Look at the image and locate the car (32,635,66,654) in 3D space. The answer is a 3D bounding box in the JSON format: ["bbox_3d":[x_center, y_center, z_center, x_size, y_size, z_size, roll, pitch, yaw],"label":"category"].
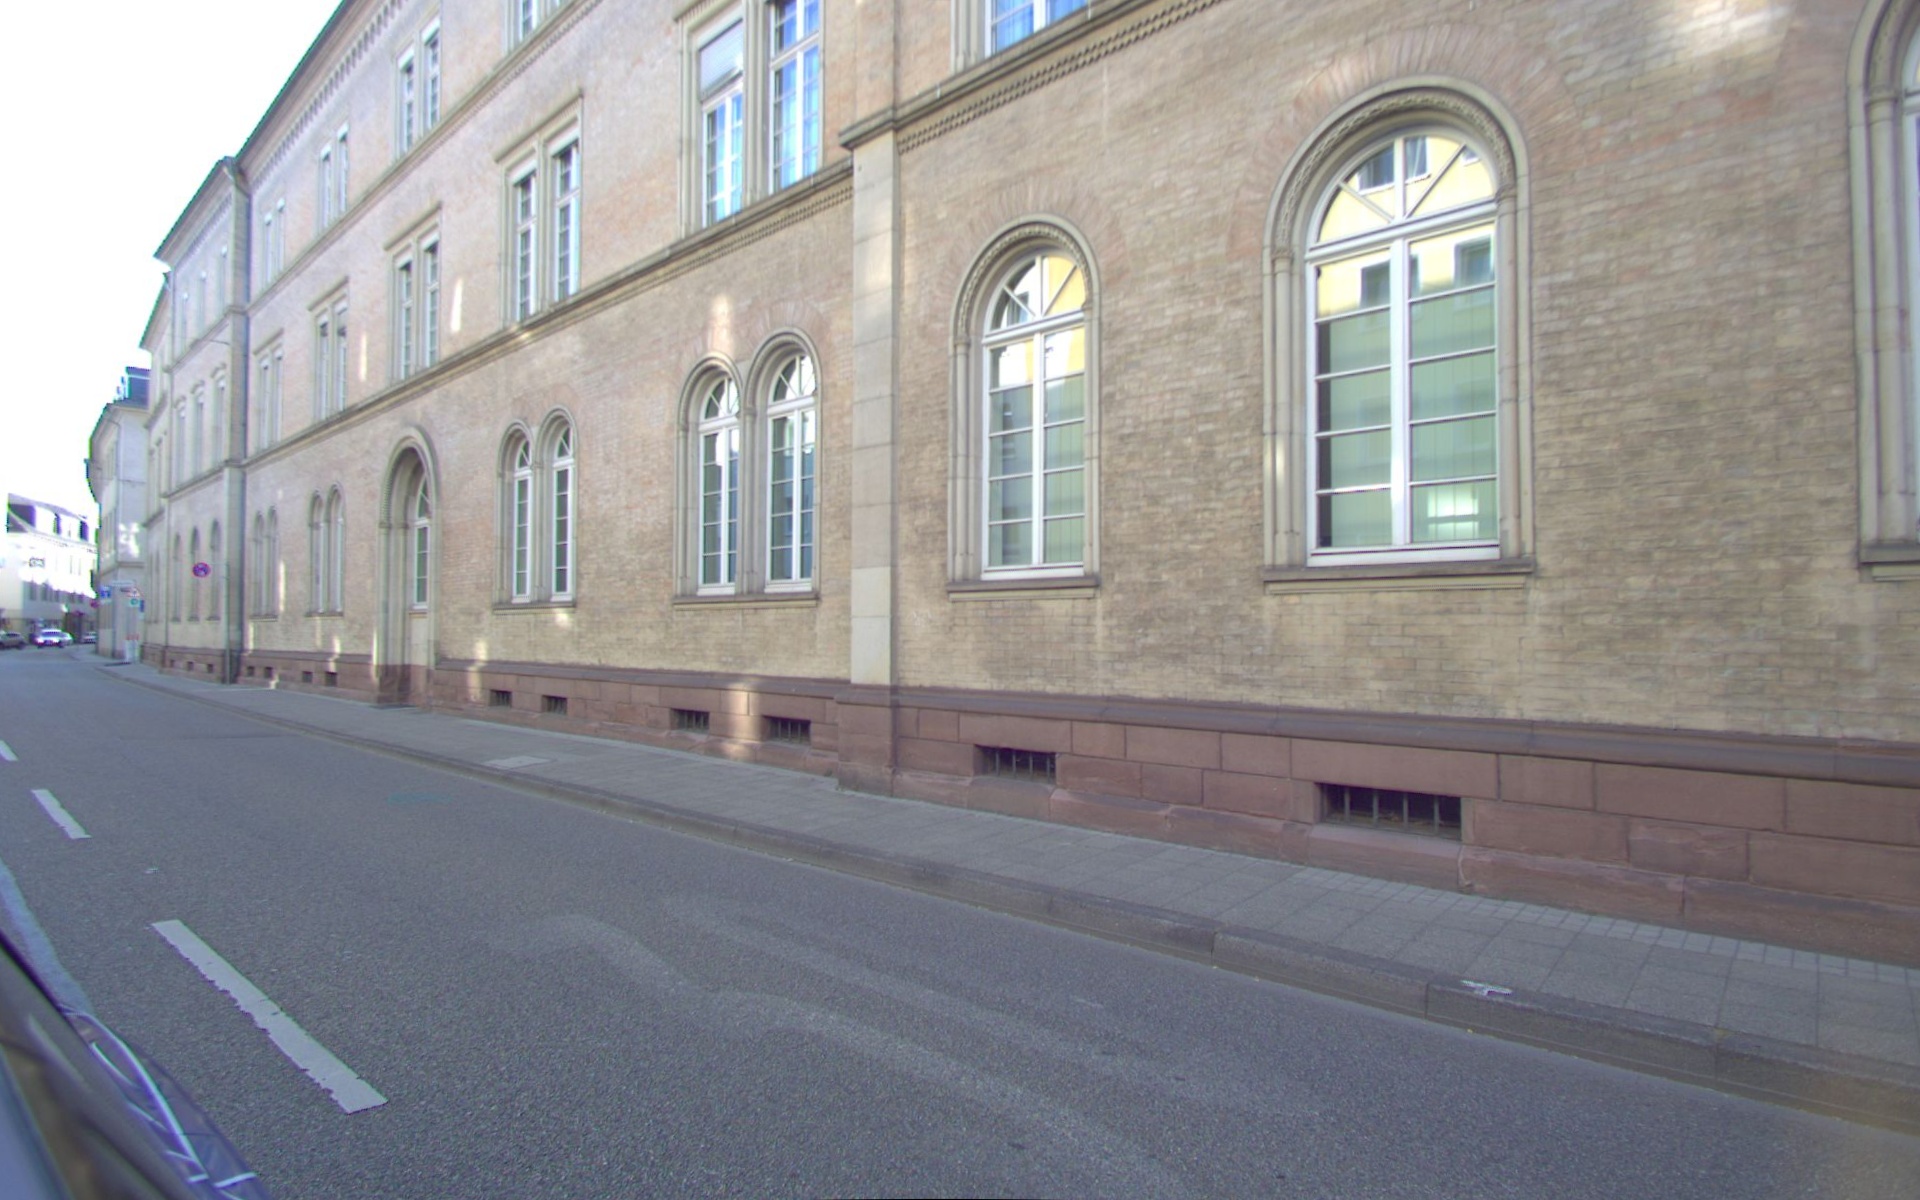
[{"bbox_3d":[-86.743,4.202,96.383,1.893,1.735,4.971,1,-2,-37],"label":"car"}]

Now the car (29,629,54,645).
[{"bbox_3d":[-102.392,4.100,112.883,1.511,1.737,3.749,1,-2,-34],"label":"car"}]

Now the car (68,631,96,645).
[{"bbox_3d":[-109.468,4.754,126.211,1.896,1.737,4.242,1,-2,-31],"label":"car"}]

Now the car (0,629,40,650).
[{"bbox_3d":[-80.944,3.363,86.211,1.837,1.737,3.740,0,-2,-2],"label":"car"}]

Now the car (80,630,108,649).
[{"bbox_3d":[-80.348,3.673,93.909,1.638,1.737,3.748,1,-2,-36],"label":"car"}]
